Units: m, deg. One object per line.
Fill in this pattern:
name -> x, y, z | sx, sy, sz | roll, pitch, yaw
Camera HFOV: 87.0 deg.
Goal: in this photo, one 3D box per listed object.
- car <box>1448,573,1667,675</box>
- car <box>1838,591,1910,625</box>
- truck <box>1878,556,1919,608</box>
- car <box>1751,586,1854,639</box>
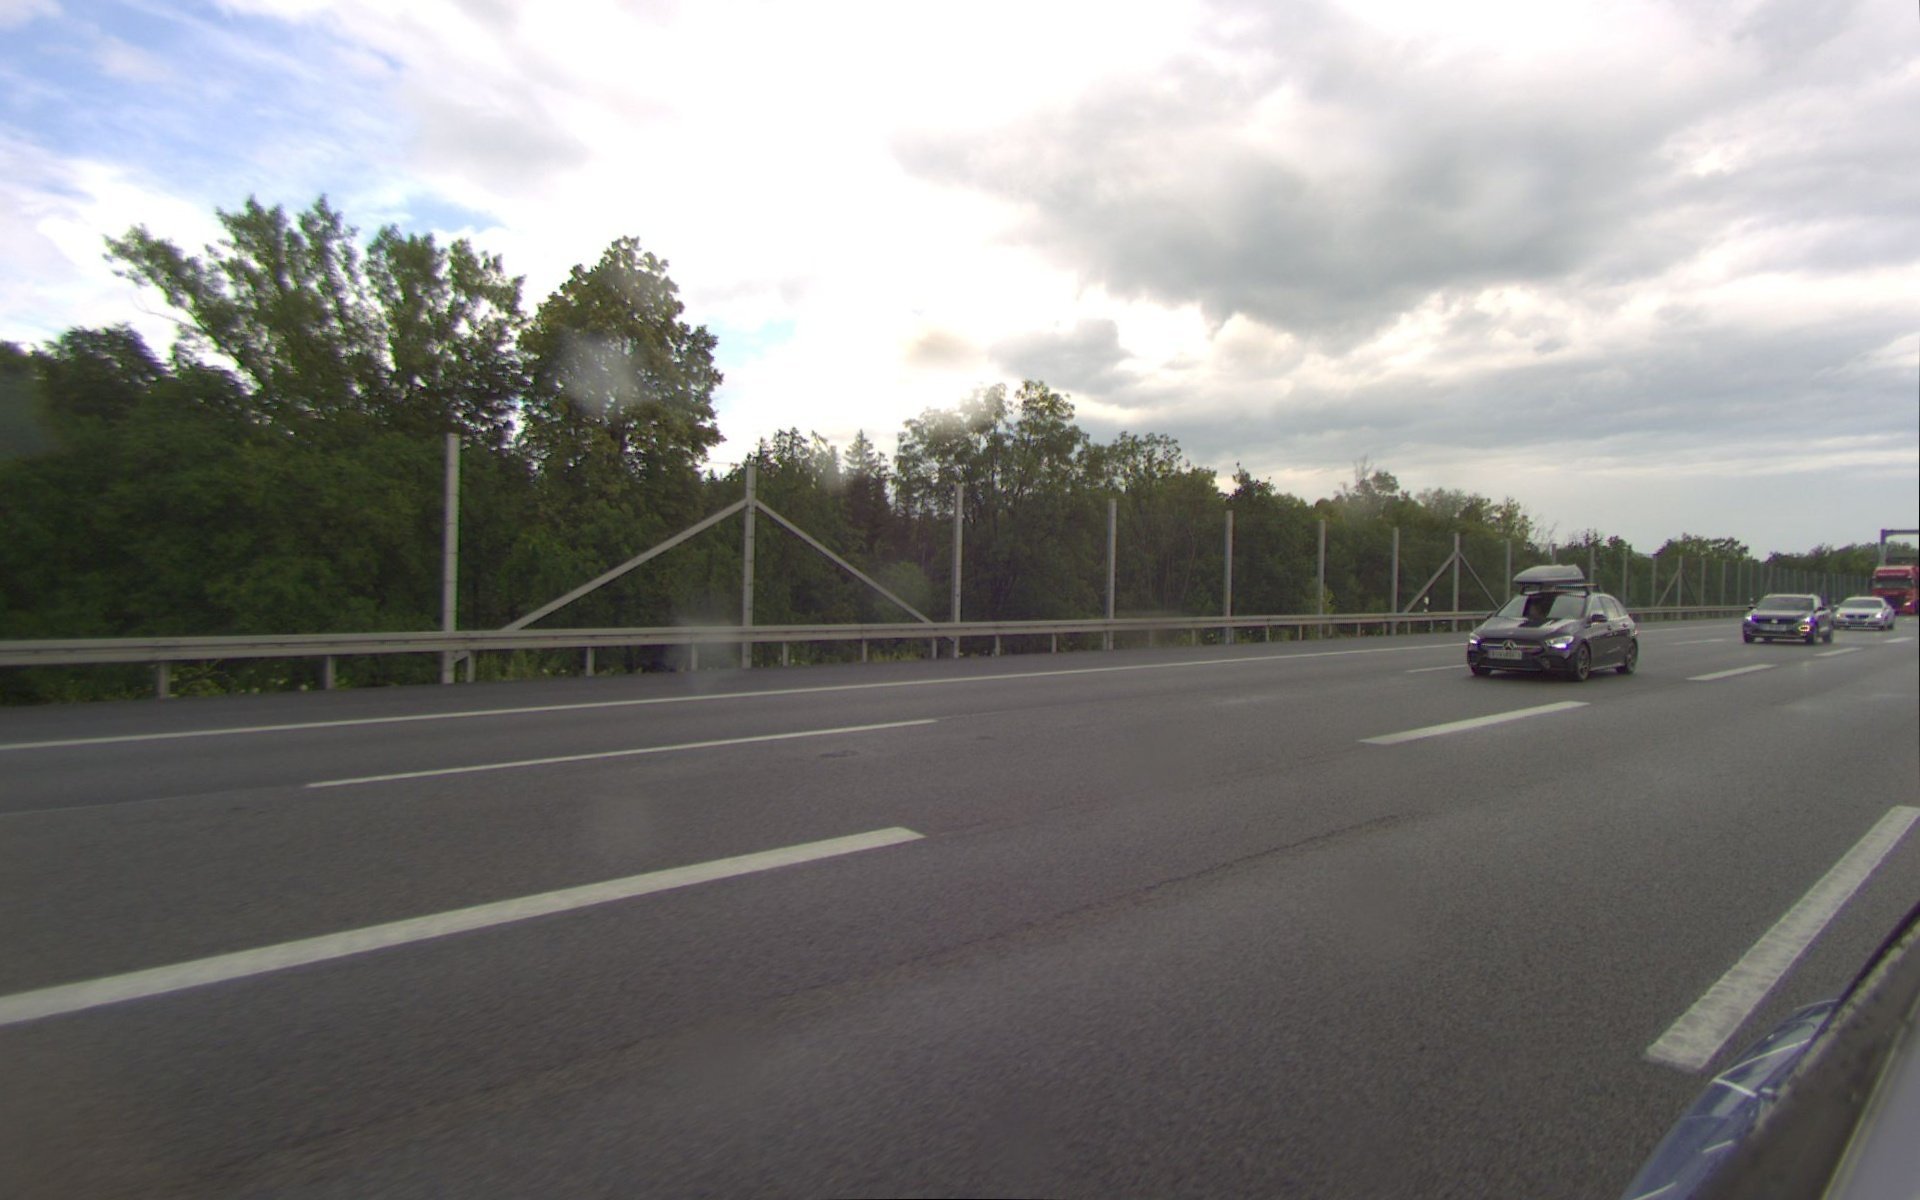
car -> 11.124, 0.375, 18.677 | 4.979, 1.626, 2.108 | 0, 1, -43
car -> 40.778, 0.365, 45.128 | 4.171, 1.465, 1.896 | 1, -1, -41
truck -> 79.748, -1.352, 84.038 | 15.358, 4.054, 3.159 | 0, 0, -40
car -> 26.603, 0.348, 31.947 | 3.654, 1.582, 1.797 | 0, 1, -38
